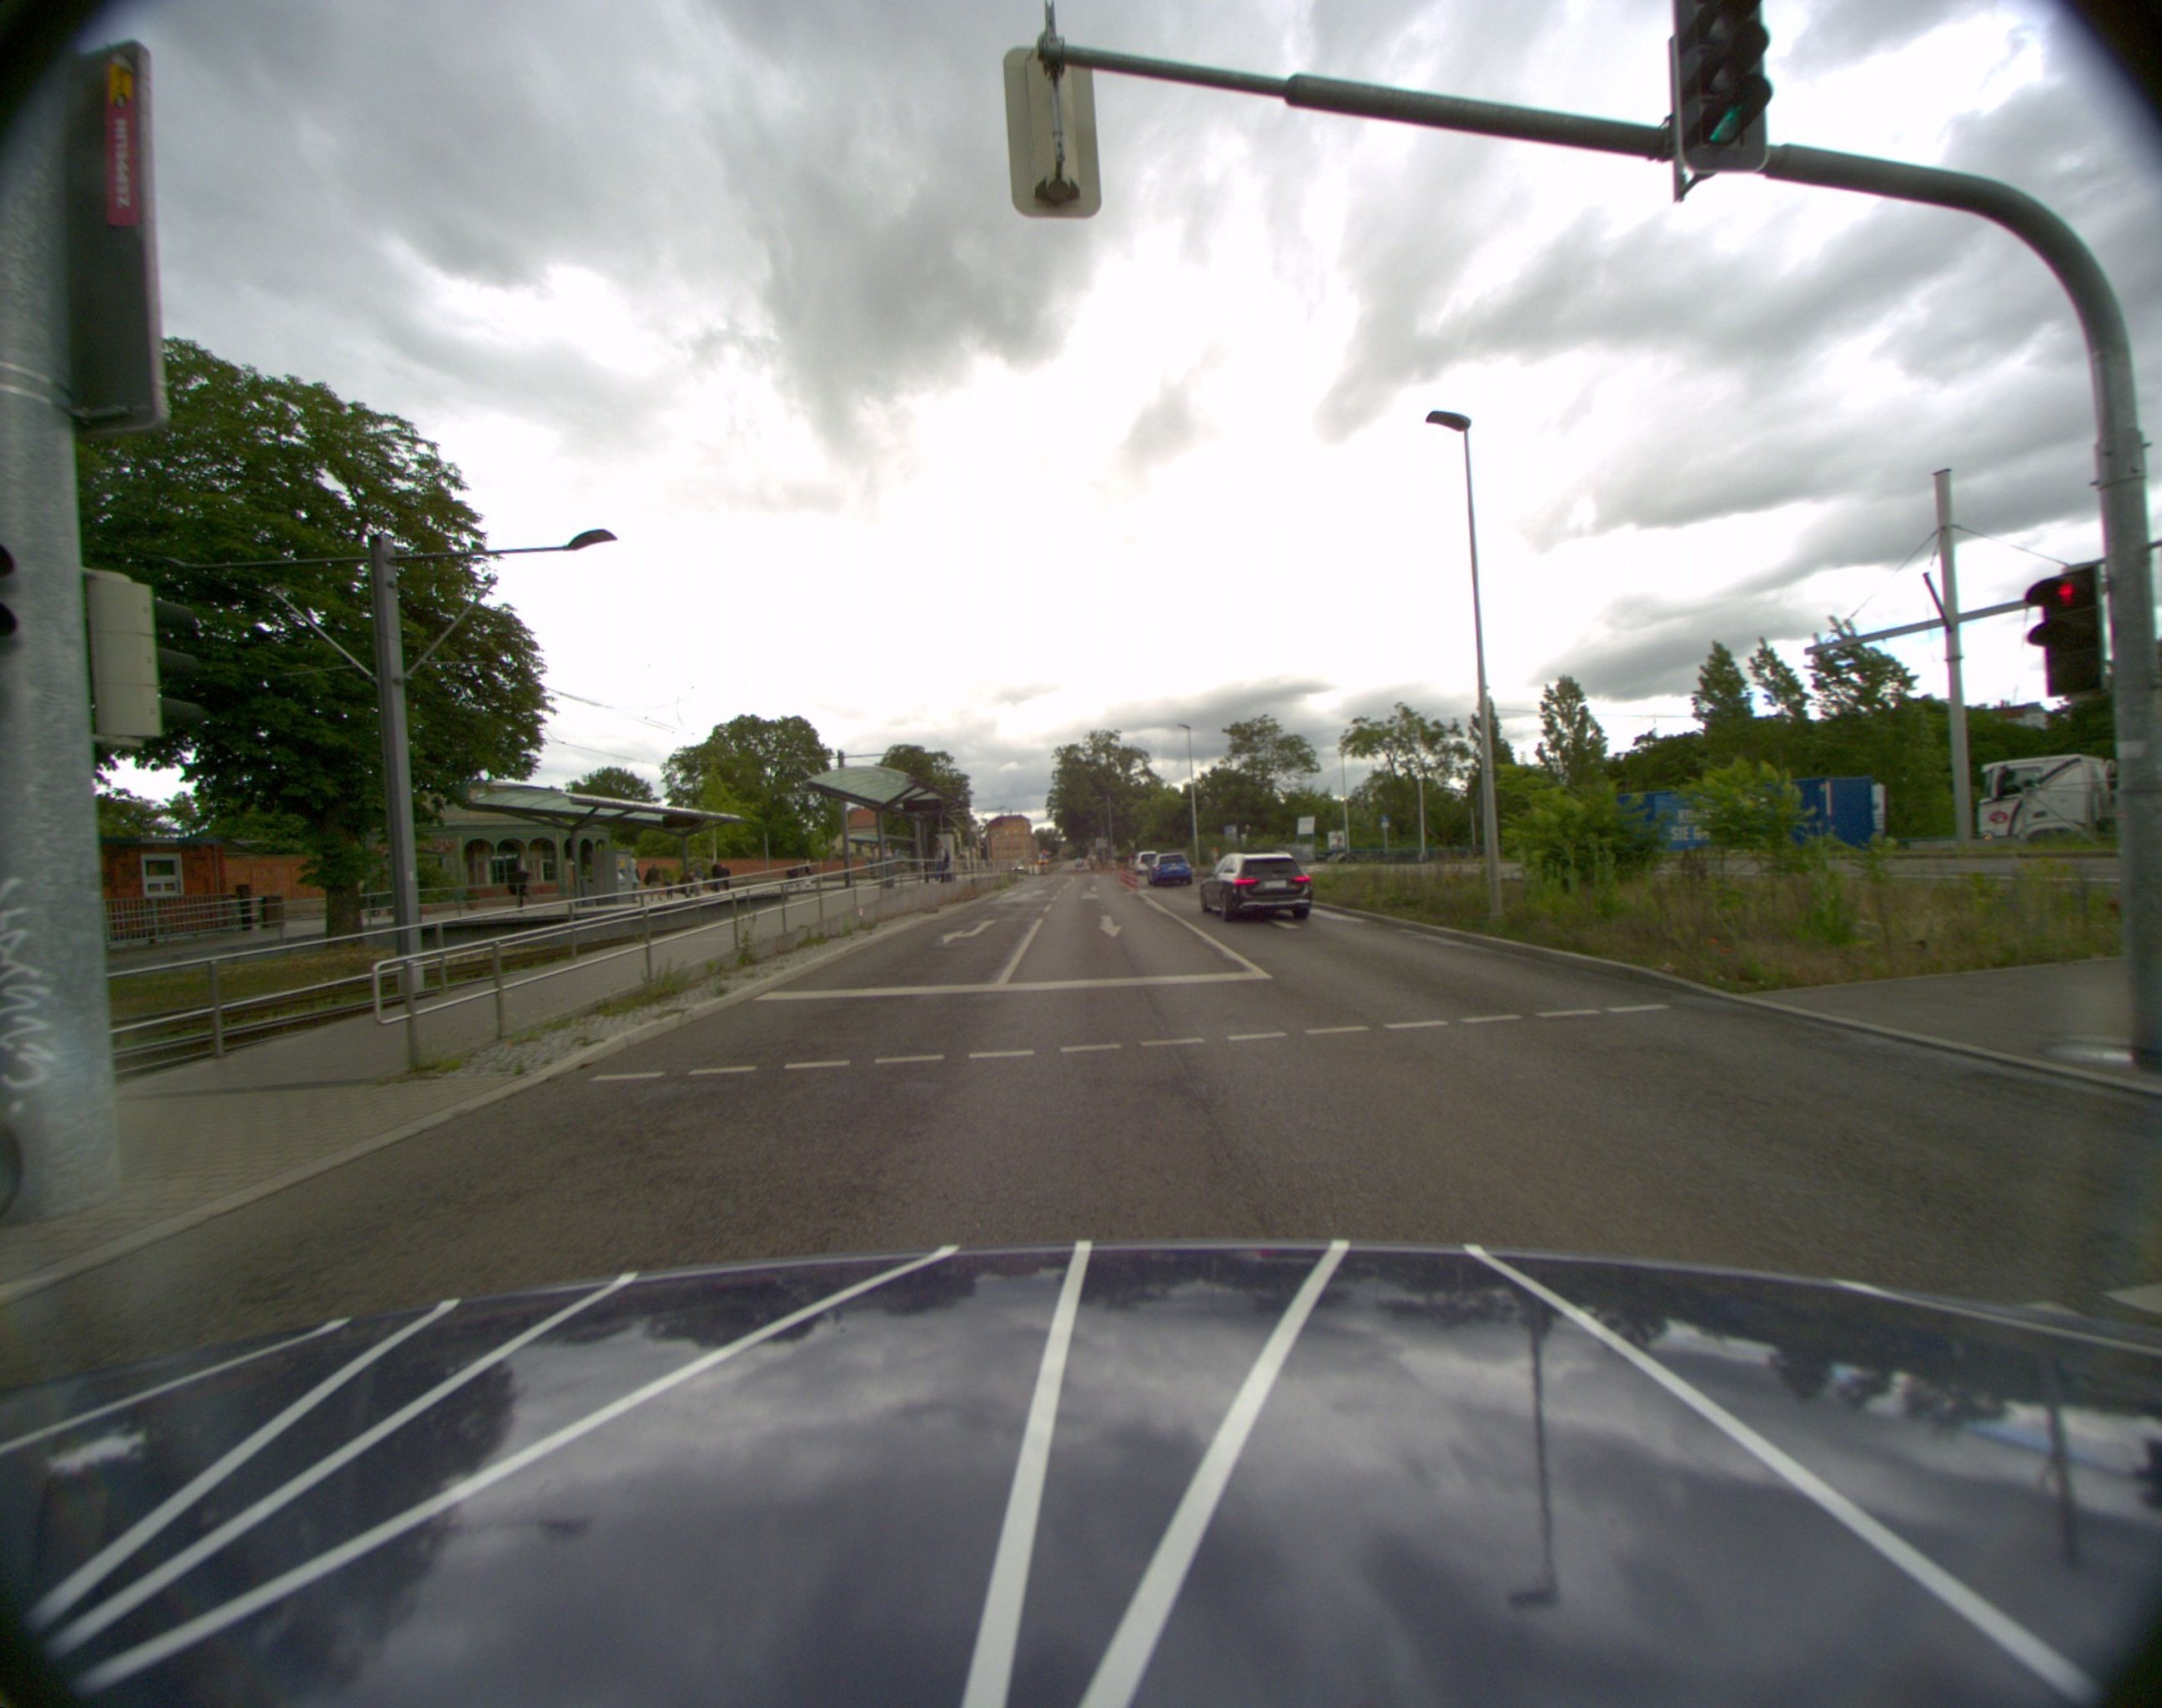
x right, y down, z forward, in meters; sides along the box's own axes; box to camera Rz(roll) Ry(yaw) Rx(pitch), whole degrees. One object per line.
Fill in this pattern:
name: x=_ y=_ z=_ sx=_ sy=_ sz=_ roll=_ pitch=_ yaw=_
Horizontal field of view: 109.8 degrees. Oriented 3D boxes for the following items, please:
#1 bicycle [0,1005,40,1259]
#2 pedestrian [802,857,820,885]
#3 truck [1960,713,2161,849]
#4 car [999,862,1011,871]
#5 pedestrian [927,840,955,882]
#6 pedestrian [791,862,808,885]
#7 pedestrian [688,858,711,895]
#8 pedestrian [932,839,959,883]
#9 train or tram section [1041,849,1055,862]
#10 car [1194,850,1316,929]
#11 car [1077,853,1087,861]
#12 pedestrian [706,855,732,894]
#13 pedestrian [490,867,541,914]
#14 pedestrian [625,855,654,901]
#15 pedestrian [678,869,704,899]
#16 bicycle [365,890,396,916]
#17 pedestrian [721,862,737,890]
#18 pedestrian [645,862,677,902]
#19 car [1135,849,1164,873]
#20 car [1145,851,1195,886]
bicycle: x=-5.449 y=1.267 z=2.851 sx=1.687 sy=1.067 sz=0.619 roll=-3 pitch=-1 yaw=-39
pedestrian: x=-17.285 y=1.090 z=48.686 sx=0.634 sy=1.677 sz=0.866 roll=-6 pitch=1 yaw=0
truck: x=29.143 y=-2.007 z=19.263 sx=2.805 sy=3.316 sz=8.462 roll=-2 pitch=-1 yaw=-27
car: x=-13.832 y=2.190 z=138.072 sx=1.681 sy=1.433 sz=4.119 roll=-6 pitch=0 yaw=-1
pedestrian: x=-5.482 y=0.281 z=29.794 sx=0.752 sy=1.544 sz=0.775 roll=-6 pitch=-1 yaw=2
pedestrian: x=-21.153 y=1.467 z=57.163 sx=0.741 sy=1.591 sz=0.772 roll=-6 pitch=1 yaw=9
pedestrian: x=-17.098 y=1.009 z=34.041 sx=0.525 sy=1.610 sz=0.676 roll=-6 pitch=1 yaw=2
pedestrian: x=-5.454 y=0.294 z=30.608 sx=0.772 sy=1.689 sz=0.732 roll=-6 pitch=-1 yaw=2
train or tram section: x=-9.668 y=0.326 z=226.096 sx=3.739 sy=3.346 sz=17.552 roll=-3 pitch=1 yaw=-1
car: x=3.837 y=0.701 z=17.525 sx=1.734 sy=1.520 sz=4.444 roll=-2 pitch=1 yaw=0
car: x=0.332 y=0.676 z=177.433 sx=1.869 sy=1.772 sz=4.746 roll=-4 pitch=0 yaw=-4
pedestrian: x=-17.603 y=1.000 z=36.977 sx=0.634 sy=1.827 sz=0.950 roll=-6 pitch=1 yaw=2
pedestrian: x=-17.177 y=1.091 z=23.104 sx=0.675 sy=1.316 sz=0.968 roll=-6 pitch=1 yaw=-1
pedestrian: x=-16.705 y=0.905 z=28.767 sx=0.545 sy=1.667 sz=0.675 roll=-6 pitch=1 yaw=-3
pedestrian: x=-16.620 y=1.278 z=32.394 sx=0.659 sy=1.184 sz=0.676 roll=-6 pitch=1 yaw=2
bicycle: x=-31.193 y=2.173 z=33.852 sx=0.565 sy=1.055 sz=1.712 roll=-6 pitch=1 yaw=-30
pedestrian: x=-23.574 y=1.454 z=50.924 sx=0.549 sy=1.827 sz=0.952 roll=-6 pitch=1 yaw=-6
pedestrian: x=-18.587 y=1.233 z=33.629 sx=0.863 sy=1.667 sz=0.761 roll=-6 pitch=1 yaw=-10
car: x=4.801 y=0.440 z=53.552 sx=1.595 sy=1.508 sz=4.084 roll=-4 pitch=1 yaw=0
car: x=4.046 y=0.625 z=35.291 sx=1.734 sy=1.413 sz=4.444 roll=-2 pitch=1 yaw=0
